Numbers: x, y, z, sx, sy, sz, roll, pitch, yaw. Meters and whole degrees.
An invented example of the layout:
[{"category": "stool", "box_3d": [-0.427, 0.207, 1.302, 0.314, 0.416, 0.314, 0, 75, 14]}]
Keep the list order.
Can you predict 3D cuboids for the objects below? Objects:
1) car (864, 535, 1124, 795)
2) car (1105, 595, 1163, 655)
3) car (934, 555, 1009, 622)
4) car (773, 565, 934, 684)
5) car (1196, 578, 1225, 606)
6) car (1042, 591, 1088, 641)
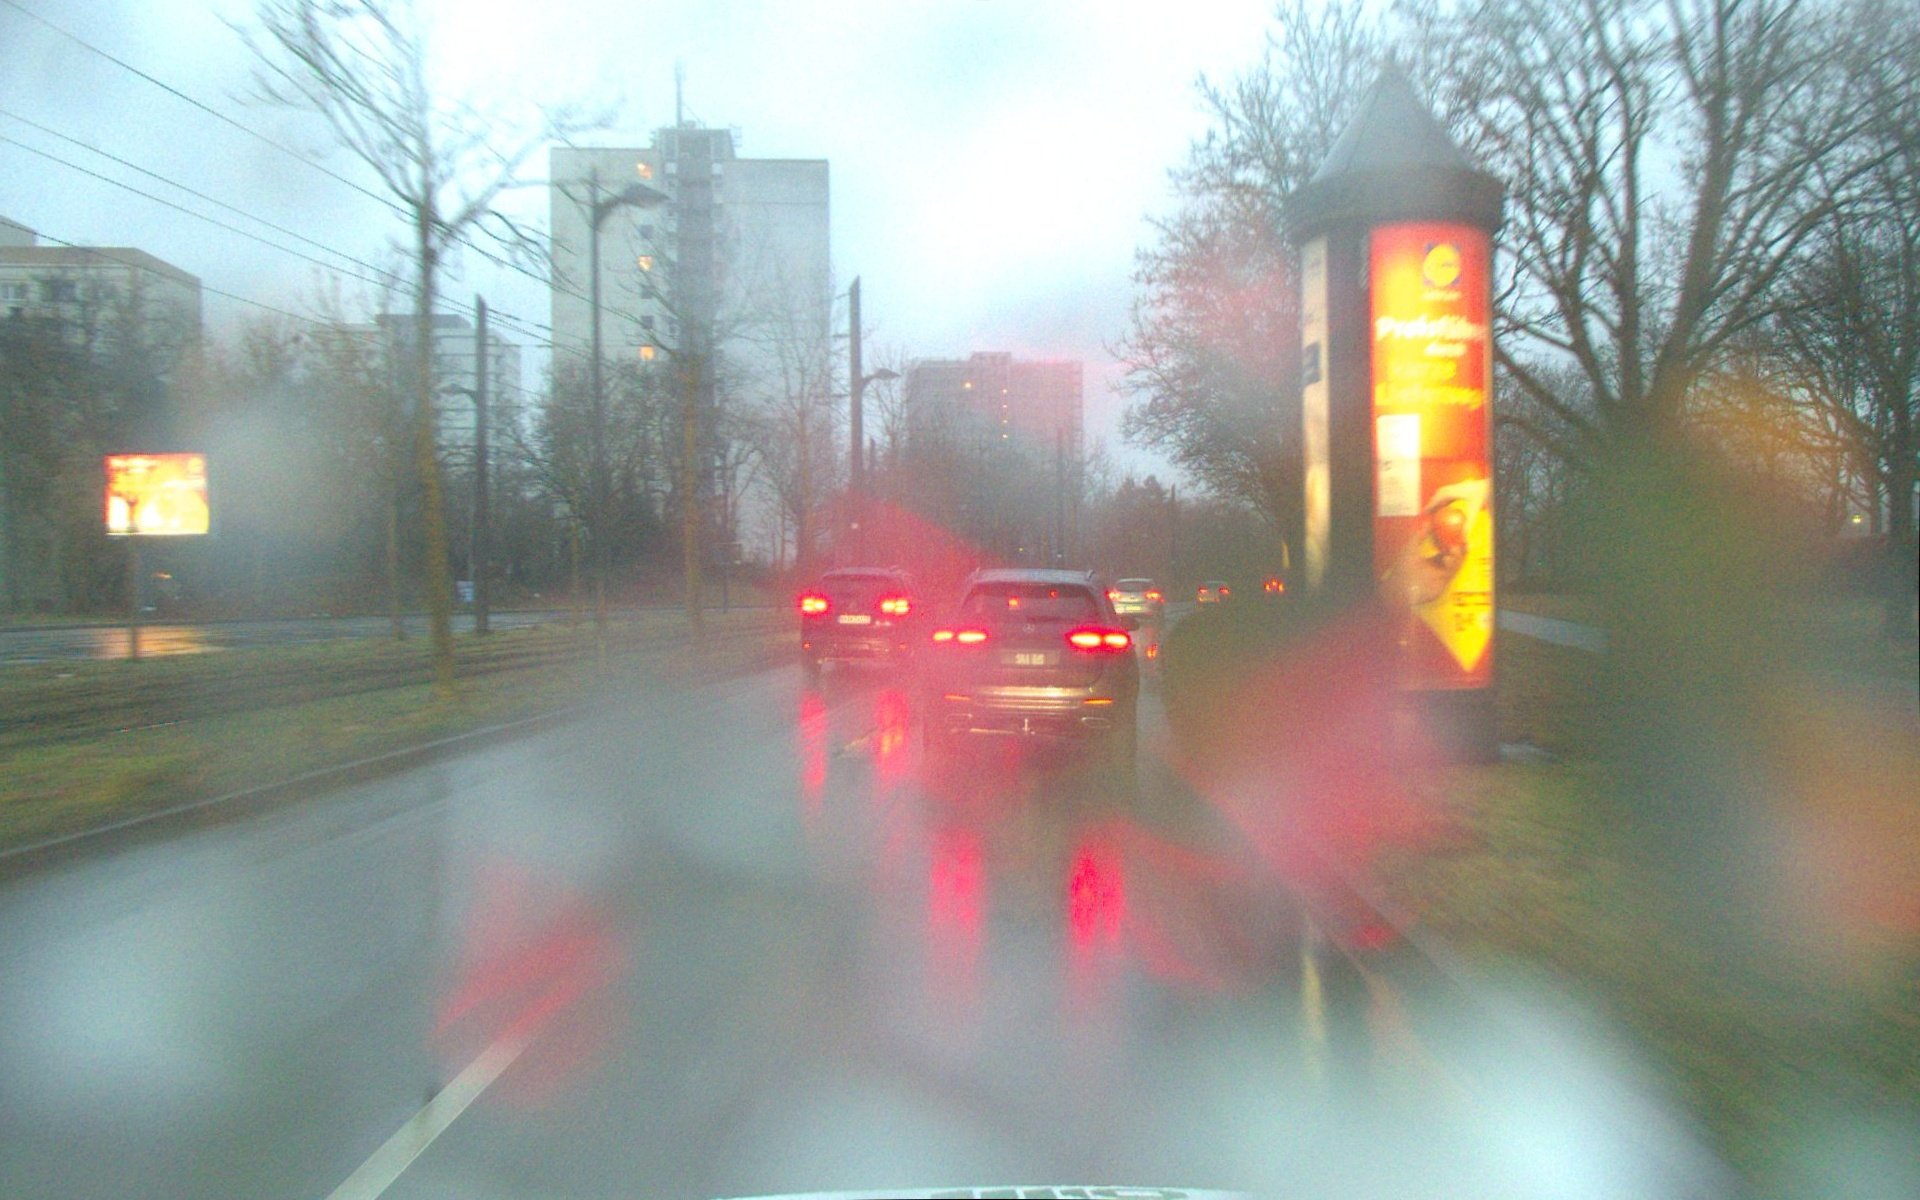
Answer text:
[{"category": "car", "box_3d": [0.465, 0.528, 15.040, 1.951, 2.010, 4.071, 1, -1, 7]}, {"category": "car", "box_3d": [5.786, 0.831, 55.330, 1.817, 1.925, 4.002, 1, -1, 5]}, {"category": "car", "box_3d": [0.361, -0.326, 45.677, 1.789, 1.769, 3.808, 1, 1, 4]}, {"category": "car", "box_3d": [-1.621, 0.389, 26.821, 1.951, 1.742, 4.327, 1, -1, 5]}, {"category": "car", "box_3d": [14.675, -0.470, 96.962, 1.502, 1.540, 3.344, 1, -1, 5]}, {"category": "car", "box_3d": [4.231, 0.647, 66.114, 1.735, 1.925, 3.644, 1, -1, 5]}]
